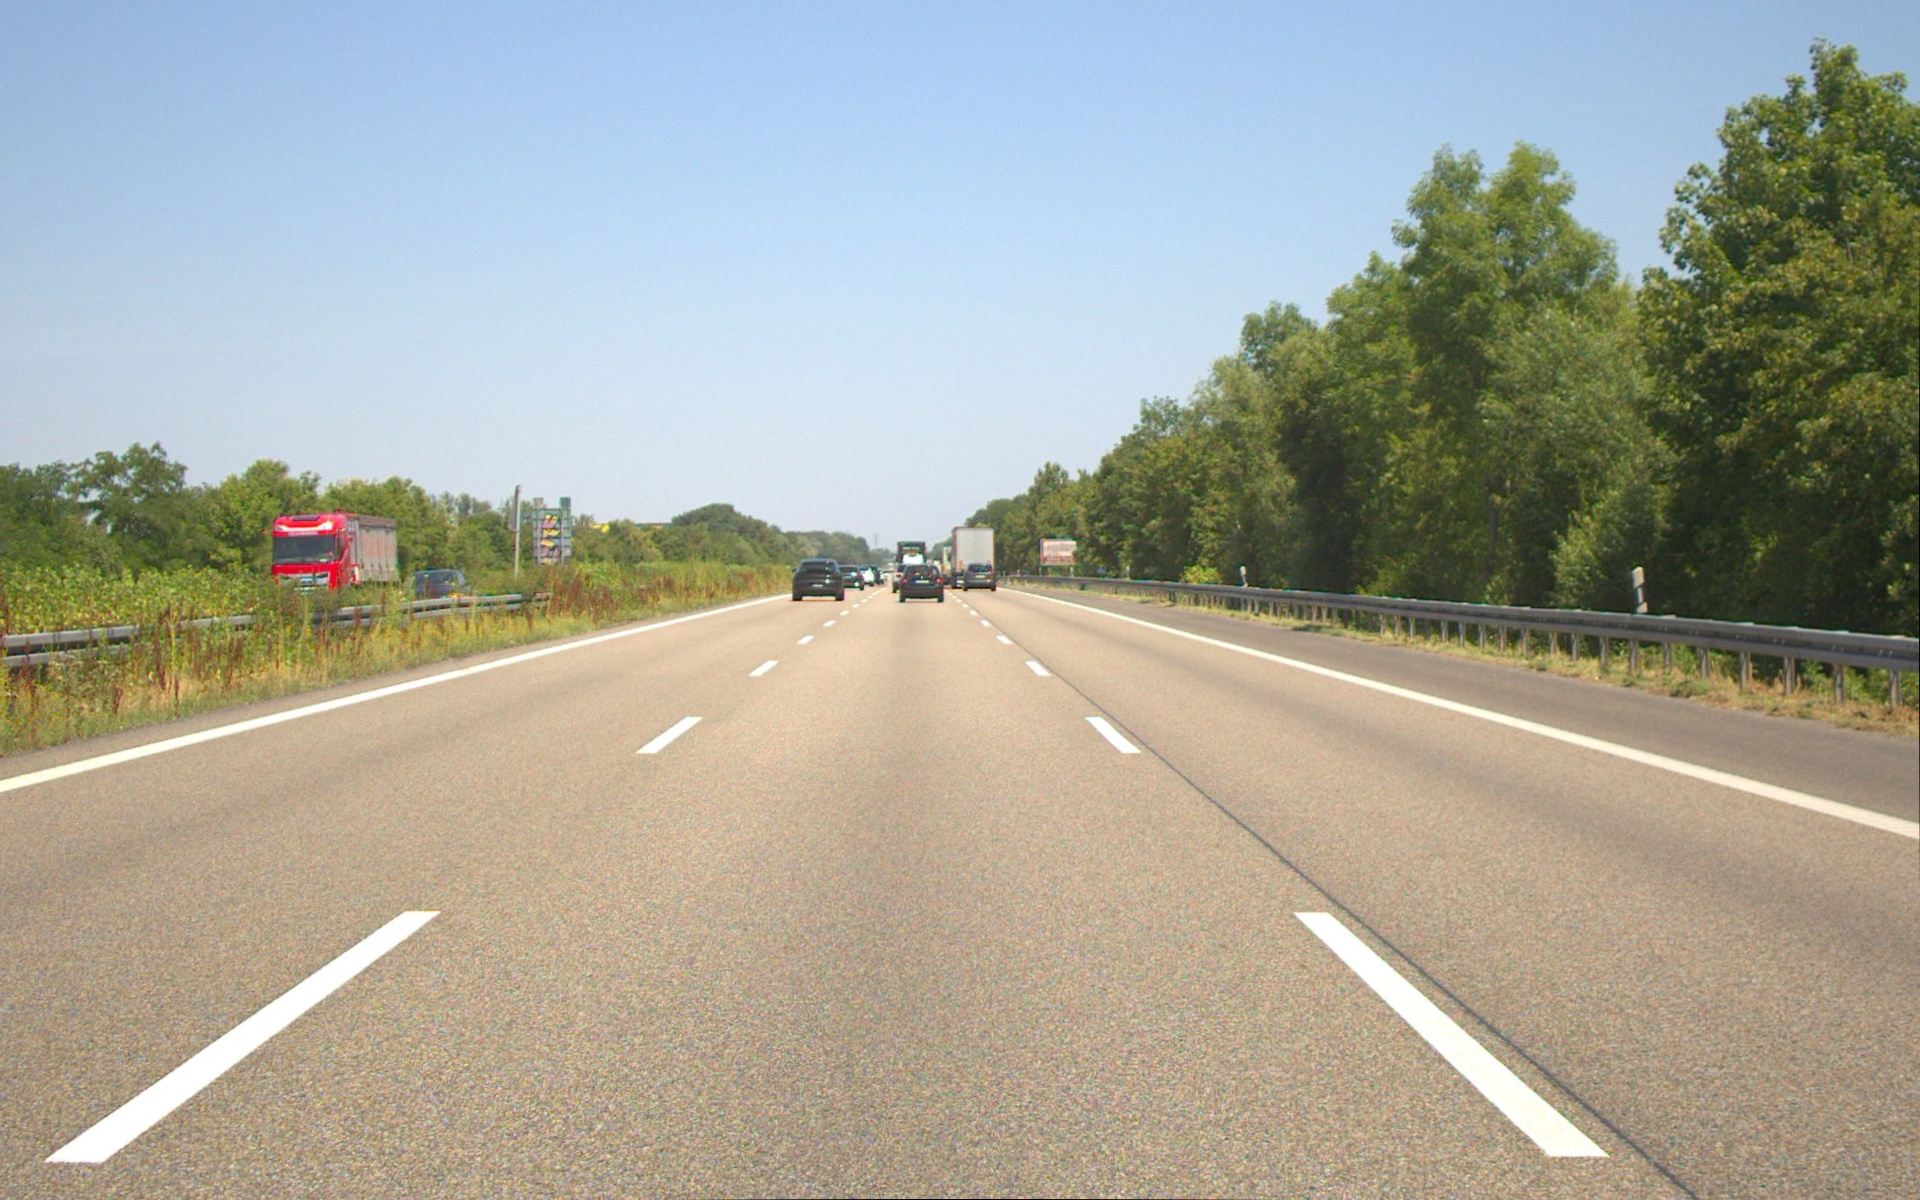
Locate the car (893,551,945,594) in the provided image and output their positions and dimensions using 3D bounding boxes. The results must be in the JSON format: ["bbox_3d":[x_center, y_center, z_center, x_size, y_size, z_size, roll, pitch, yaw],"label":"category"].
[{"bbox_3d":[-1.556,-1.047,130.351,1.903,1.578,4.304,-1,1,0],"label":"car"}]

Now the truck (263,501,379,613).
[{"bbox_3d":[-22.906,-1.540,123.493,3.078,3.856,5.591,-1,1,0],"label":"truck"}]

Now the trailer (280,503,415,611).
[{"bbox_3d":[-22.929,-1.617,129.319,3.078,3.856,10.907,-1,1,0],"label":"trailer"}]

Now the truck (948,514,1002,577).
[{"bbox_3d":[0.965,-3.570,226.395,3.385,3.957,9.537,-1,1,0],"label":"truck"}]

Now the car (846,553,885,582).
[{"bbox_3d":[-5.569,-1.936,202.904,2.128,1.640,4.304,-1,1,0],"label":"car"}]

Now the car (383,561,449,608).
[{"bbox_3d":[-19.571,-0.583,123.836,1.653,1.639,4.333,-1,1,0],"label":"car"}]

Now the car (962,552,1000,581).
[{"bbox_3d":[1.184,-1.914,195.218,2.128,1.578,4.304,-1,1,0],"label":"car"}]

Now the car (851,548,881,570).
[{"bbox_3d":[-7.052,-3.095,258.799,2.128,1.640,4.304,-1,1,0],"label":"car"}]

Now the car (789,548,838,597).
[{"bbox_3d":[-5.754,-1.096,135.391,1.880,1.786,4.001,0,2,-2],"label":"car"}]
